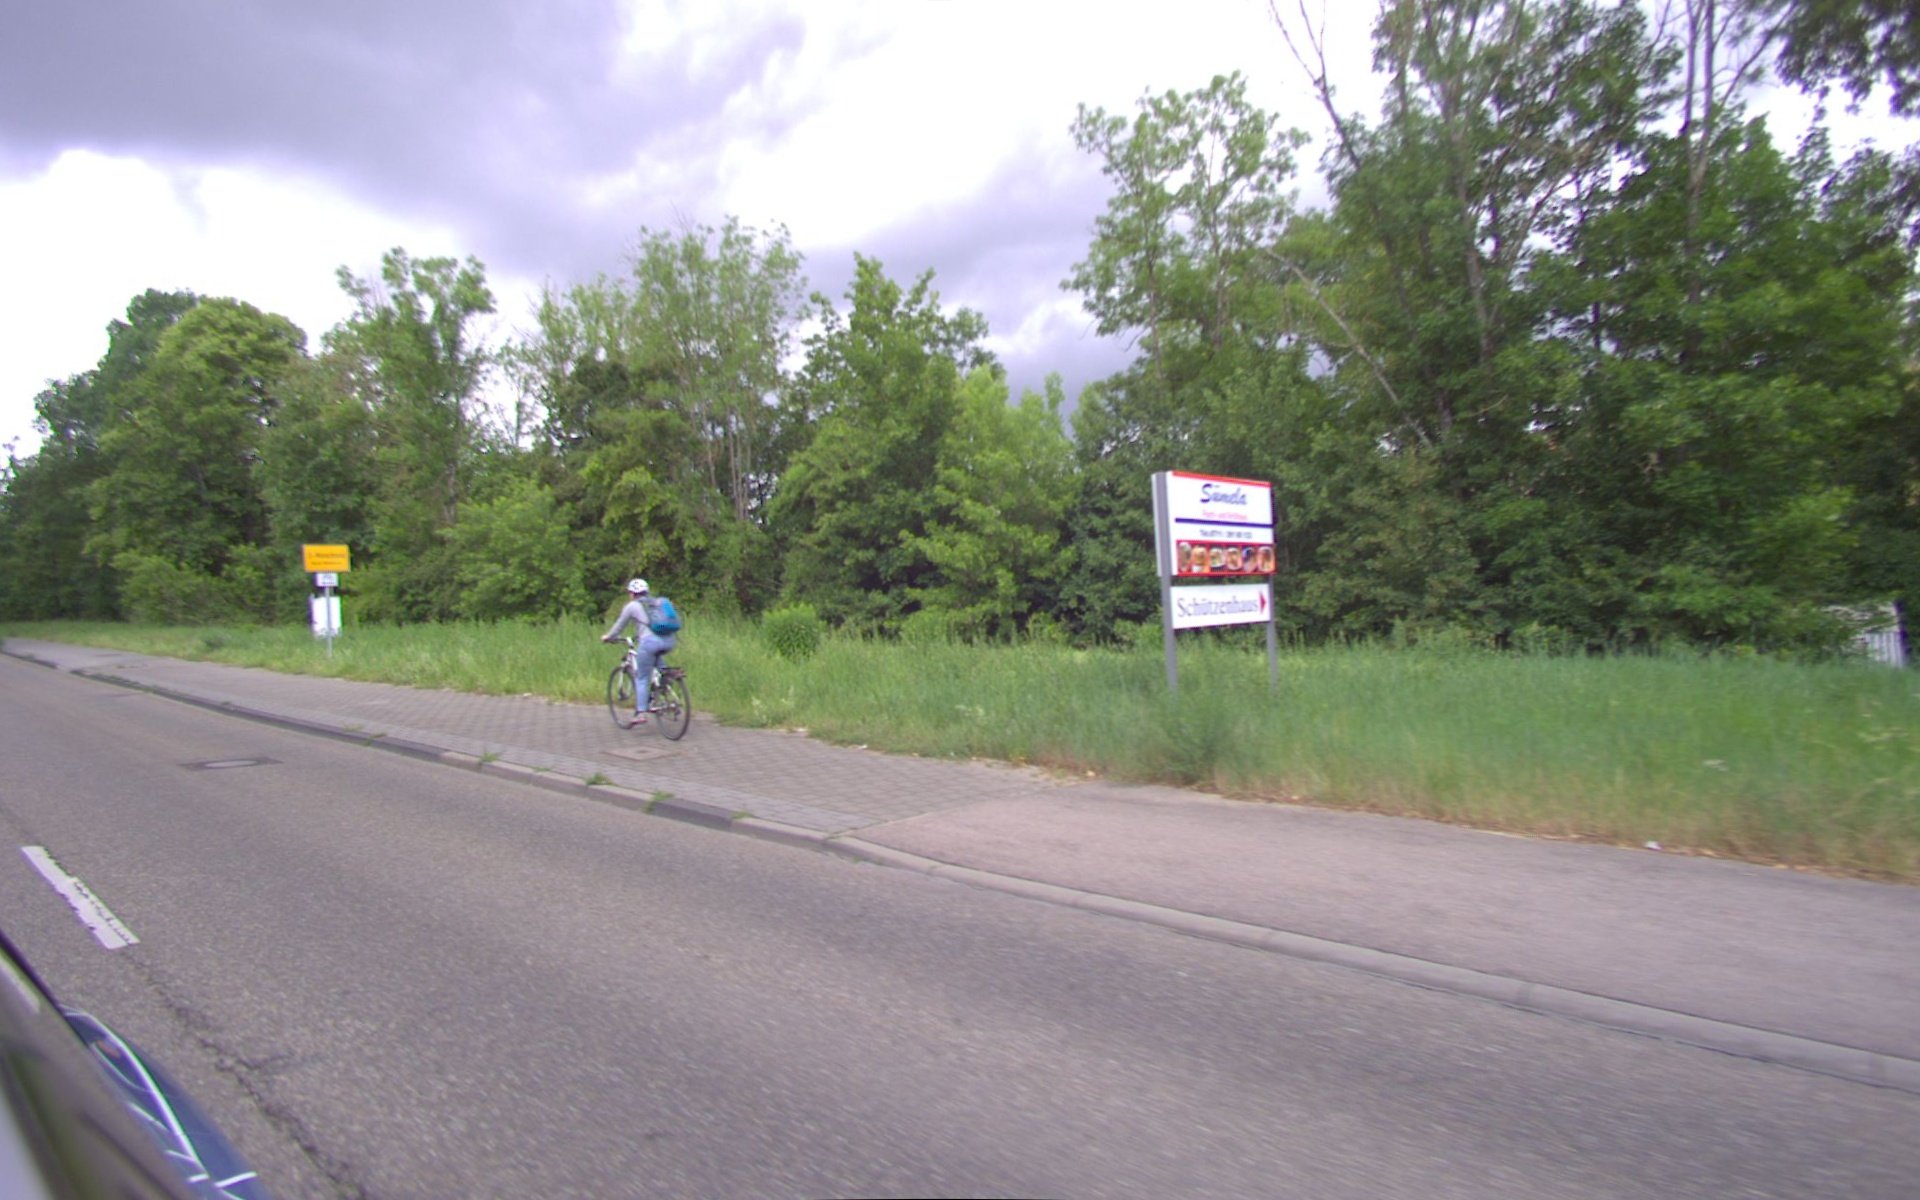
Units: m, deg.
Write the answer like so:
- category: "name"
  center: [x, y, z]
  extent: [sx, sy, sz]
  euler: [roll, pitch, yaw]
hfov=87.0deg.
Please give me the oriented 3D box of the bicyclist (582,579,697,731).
- category: "bicyclist"
  center: [-3.460, 0.559, 10.887]
  extent: [1.271, 1.531, 0.658]
  euler: [-2, -1, 45]

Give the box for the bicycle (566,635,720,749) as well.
- category: "bicycle"
  center: [-3.449, 0.932, 10.882]
  extent: [0.658, 1.082, 2.147]
  euler: [-1, -1, -45]
